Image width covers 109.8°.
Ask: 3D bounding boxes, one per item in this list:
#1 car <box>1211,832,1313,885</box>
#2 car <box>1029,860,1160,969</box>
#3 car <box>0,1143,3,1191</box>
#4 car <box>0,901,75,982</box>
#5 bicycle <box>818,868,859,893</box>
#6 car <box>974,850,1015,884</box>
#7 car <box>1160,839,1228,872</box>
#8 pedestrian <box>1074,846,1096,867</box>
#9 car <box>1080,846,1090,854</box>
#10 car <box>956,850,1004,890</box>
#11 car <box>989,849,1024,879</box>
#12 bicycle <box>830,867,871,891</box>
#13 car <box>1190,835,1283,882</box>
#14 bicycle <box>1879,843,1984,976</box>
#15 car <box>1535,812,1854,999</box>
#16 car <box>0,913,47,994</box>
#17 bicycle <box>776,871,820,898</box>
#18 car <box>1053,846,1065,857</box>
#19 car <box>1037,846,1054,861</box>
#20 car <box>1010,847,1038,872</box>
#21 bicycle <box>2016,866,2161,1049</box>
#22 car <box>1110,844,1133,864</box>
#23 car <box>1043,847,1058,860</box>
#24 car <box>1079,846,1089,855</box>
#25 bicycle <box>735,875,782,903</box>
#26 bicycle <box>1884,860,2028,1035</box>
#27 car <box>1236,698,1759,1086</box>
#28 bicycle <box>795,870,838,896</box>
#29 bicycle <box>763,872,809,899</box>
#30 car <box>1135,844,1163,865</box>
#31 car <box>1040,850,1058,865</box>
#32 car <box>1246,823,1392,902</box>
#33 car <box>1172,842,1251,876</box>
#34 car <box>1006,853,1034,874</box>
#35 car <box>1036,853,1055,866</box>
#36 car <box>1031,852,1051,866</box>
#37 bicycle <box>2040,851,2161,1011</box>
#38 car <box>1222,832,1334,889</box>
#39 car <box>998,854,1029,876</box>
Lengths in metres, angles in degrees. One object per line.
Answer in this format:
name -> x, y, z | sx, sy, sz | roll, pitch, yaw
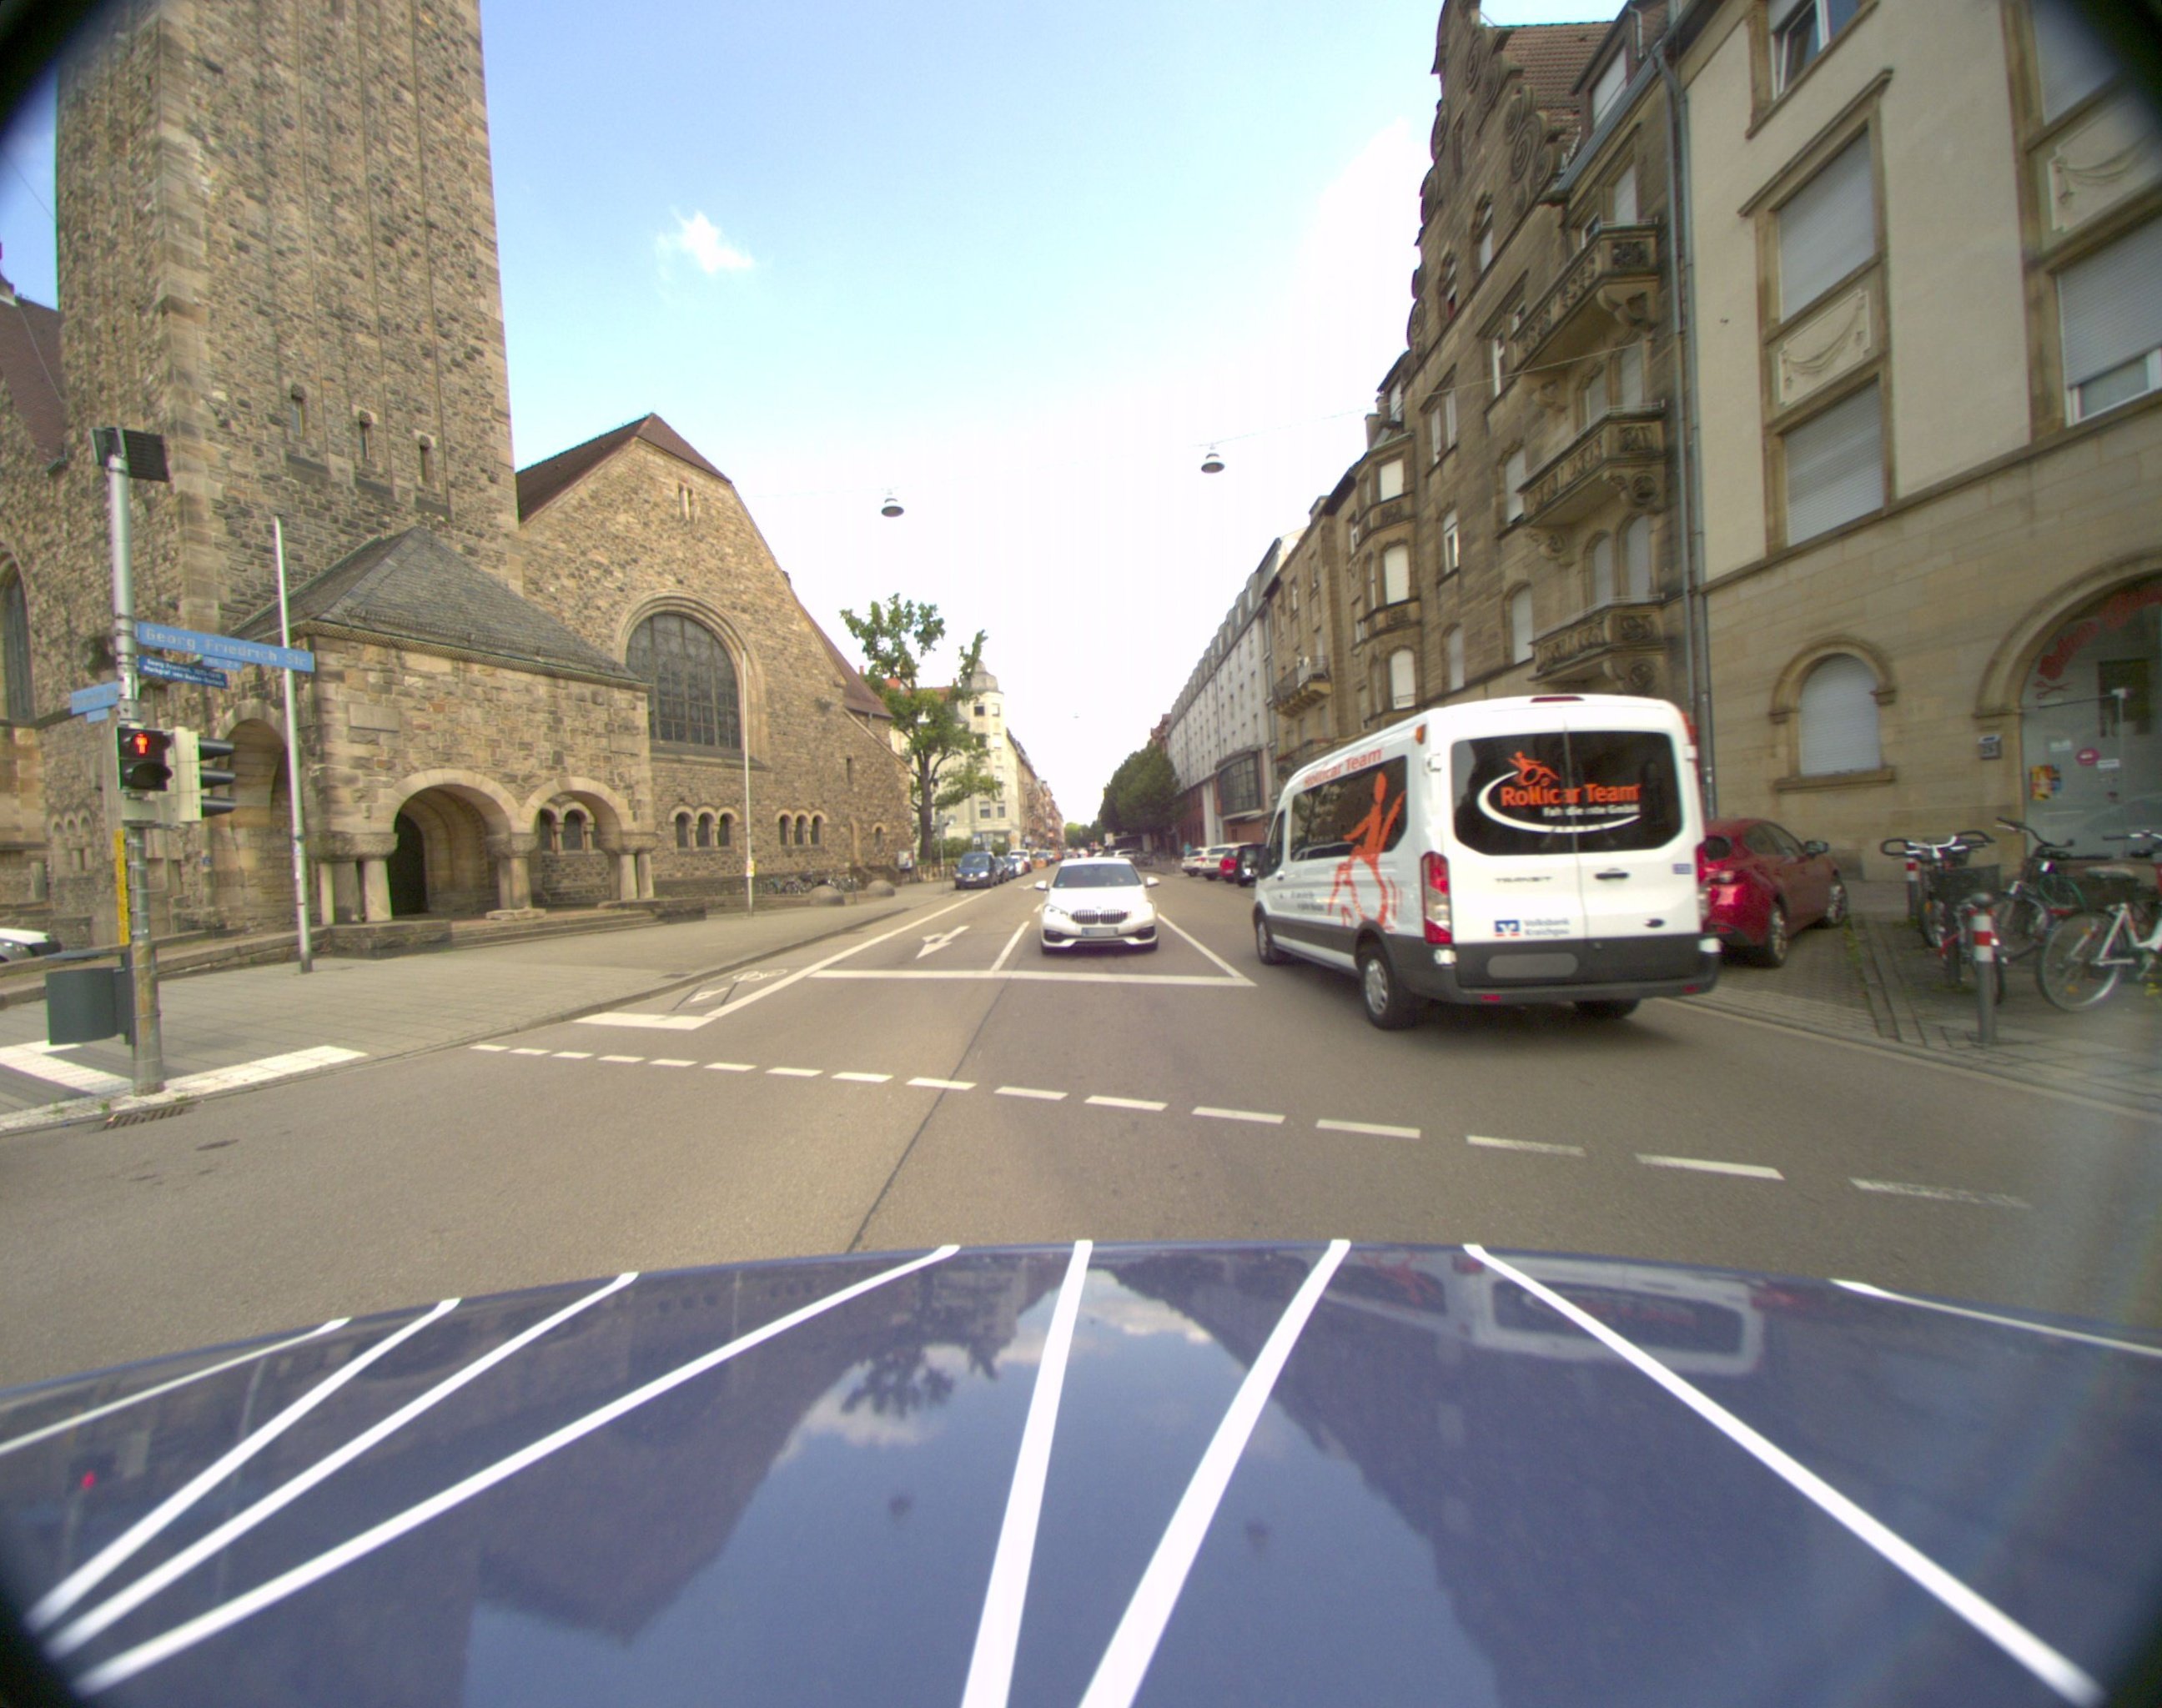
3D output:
car -> 7.258, 0.166, 30.238 | 3.959, 1.576, 1.727 | -8, 2, -39
car -> 0.255, 0.880, 12.980 | 1.826, 1.439, 4.386 | -2, 0, 2
car -> -8.153, 1.430, 2.818 | 4.393, 1.525, 1.781 | -4, -2, -37
car -> -26.953, 2.179, 17.407 | 1.996, 1.842, 4.312 | -4, -1, 25
bicycle -> -11.565, 1.254, 36.237 | 1.935, 1.106, 0.587 | 0, 3, 21
car -> -4.860, 0.693, 43.154 | 1.683, 1.780, 4.000 | -3, 0, 1
car -> 6.851, 0.094, 45.947 | 3.960, 1.576, 1.727 | -5, -1, -39
pedestrian -> 0.348, 0.229, 67.768 | 1.316, 1.747, 1.370 | -4, 1, -35
car -> 0.865, -0.858, 156.709 | 1.809, 1.590, 4.186 | -3, 0, 1
car -> -4.981, 0.730, 37.949 | 1.683, 1.780, 4.145 | -3, 0, 1
car -> -4.827, 0.609, 49.473 | 1.683, 1.780, 4.000 | -3, 0, 1
bicycle -> -11.221, 1.222, 36.964 | 1.935, 1.106, 0.587 | 0, 3, 21
car -> 6.878, 0.192, 33.474 | 3.960, 1.576, 1.727 | -7, 0, -39
bicycle -> 8.308, 0.492, 7.475 | 1.908, 1.046, 0.556 | -6, 1, -44
car -> 7.044, 0.439, 8.595 | 4.006, 1.448, 1.808 | -6, 0, -37
car -> -24.160, 2.197, 15.256 | 1.815, 1.668, 3.643 | -5, -1, 22
bicycle -> -12.632, 1.354, 33.915 | 1.935, 1.106, 0.587 | 0, 3, 21
car -> -3.964, -0.389, 138.878 | 1.809, 1.901, 4.186 | -3, 0, 1
car -> -4.498, -0.050, 96.566 | 1.809, 1.756, 4.186 | -3, 0, 1
car -> -4.776, 0.430, 63.954 | 1.844, 1.927, 4.186 | -3, 0, 1
bicycle -> 7.173, 0.630, 4.989 | 1.483, 1.046, 0.462 | -5, 1, -2
car -> 3.637, 0.011, 68.933 | 1.891, 1.641, 3.890 | -3, 0, 1
car -> -4.422, -0.111, 109.814 | 1.809, 1.756, 4.186 | -3, 0, 1
car -> 0.677, -0.717, 149.096 | 1.809, 1.590, 4.186 | -3, 0, 1
bicycle -> -13.484, 1.439, 31.785 | 1.935, 1.106, 0.587 | 0, 3, 21
bicycle -> 6.767, 0.651, 5.947 | 0.556, 1.046, 1.815 | -5, 1, 45
car -> 3.274, 0.278, 7.843 | 2.081, 2.430, 5.945 | -2, -1, 0
bicycle -> -12.109, 1.310, 34.776 | 1.935, 1.106, 0.587 | 0, 3, 21
bicycle -> -12.914, 1.381, 33.256 | 1.935, 1.106, 0.587 | 0, 3, 21
car -> 5.465, 0.050, 61.462 | 1.891, 1.556, 3.890 | -3, 0, 1
car -> -3.885, 0.409, 92.136 | 1.809, 1.675, 4.186 | -3, 0, 1
car -> 6.844, 0.215, 21.756 | 3.960, 1.857, 1.727 | -6, 1, -33
car -> 6.742, 0.254, 39.145 | 3.961, 1.465, 1.727 | -4, 1, -39
car -> -4.747, 0.685, 59.480 | 1.683, 1.488, 3.890 | -3, 0, 1
car -> -4.034, 0.640, 87.724 | 1.809, 1.360, 4.186 | -3, 0, 1
car -> -4.309, 0.545, 82.227 | 1.809, 1.360, 4.186 | -3, 0, 1
bicycle -> 8.295, 0.509, 5.625 | 1.631, 1.046, 0.558 | -5, 1, -1
car -> 7.146, 0.211, 27.372 | 3.960, 1.576, 1.727 | -8, 2, -39
car -> -4.790, 0.745, 54.241 | 1.683, 1.438, 3.798 | -3, 0, 1
